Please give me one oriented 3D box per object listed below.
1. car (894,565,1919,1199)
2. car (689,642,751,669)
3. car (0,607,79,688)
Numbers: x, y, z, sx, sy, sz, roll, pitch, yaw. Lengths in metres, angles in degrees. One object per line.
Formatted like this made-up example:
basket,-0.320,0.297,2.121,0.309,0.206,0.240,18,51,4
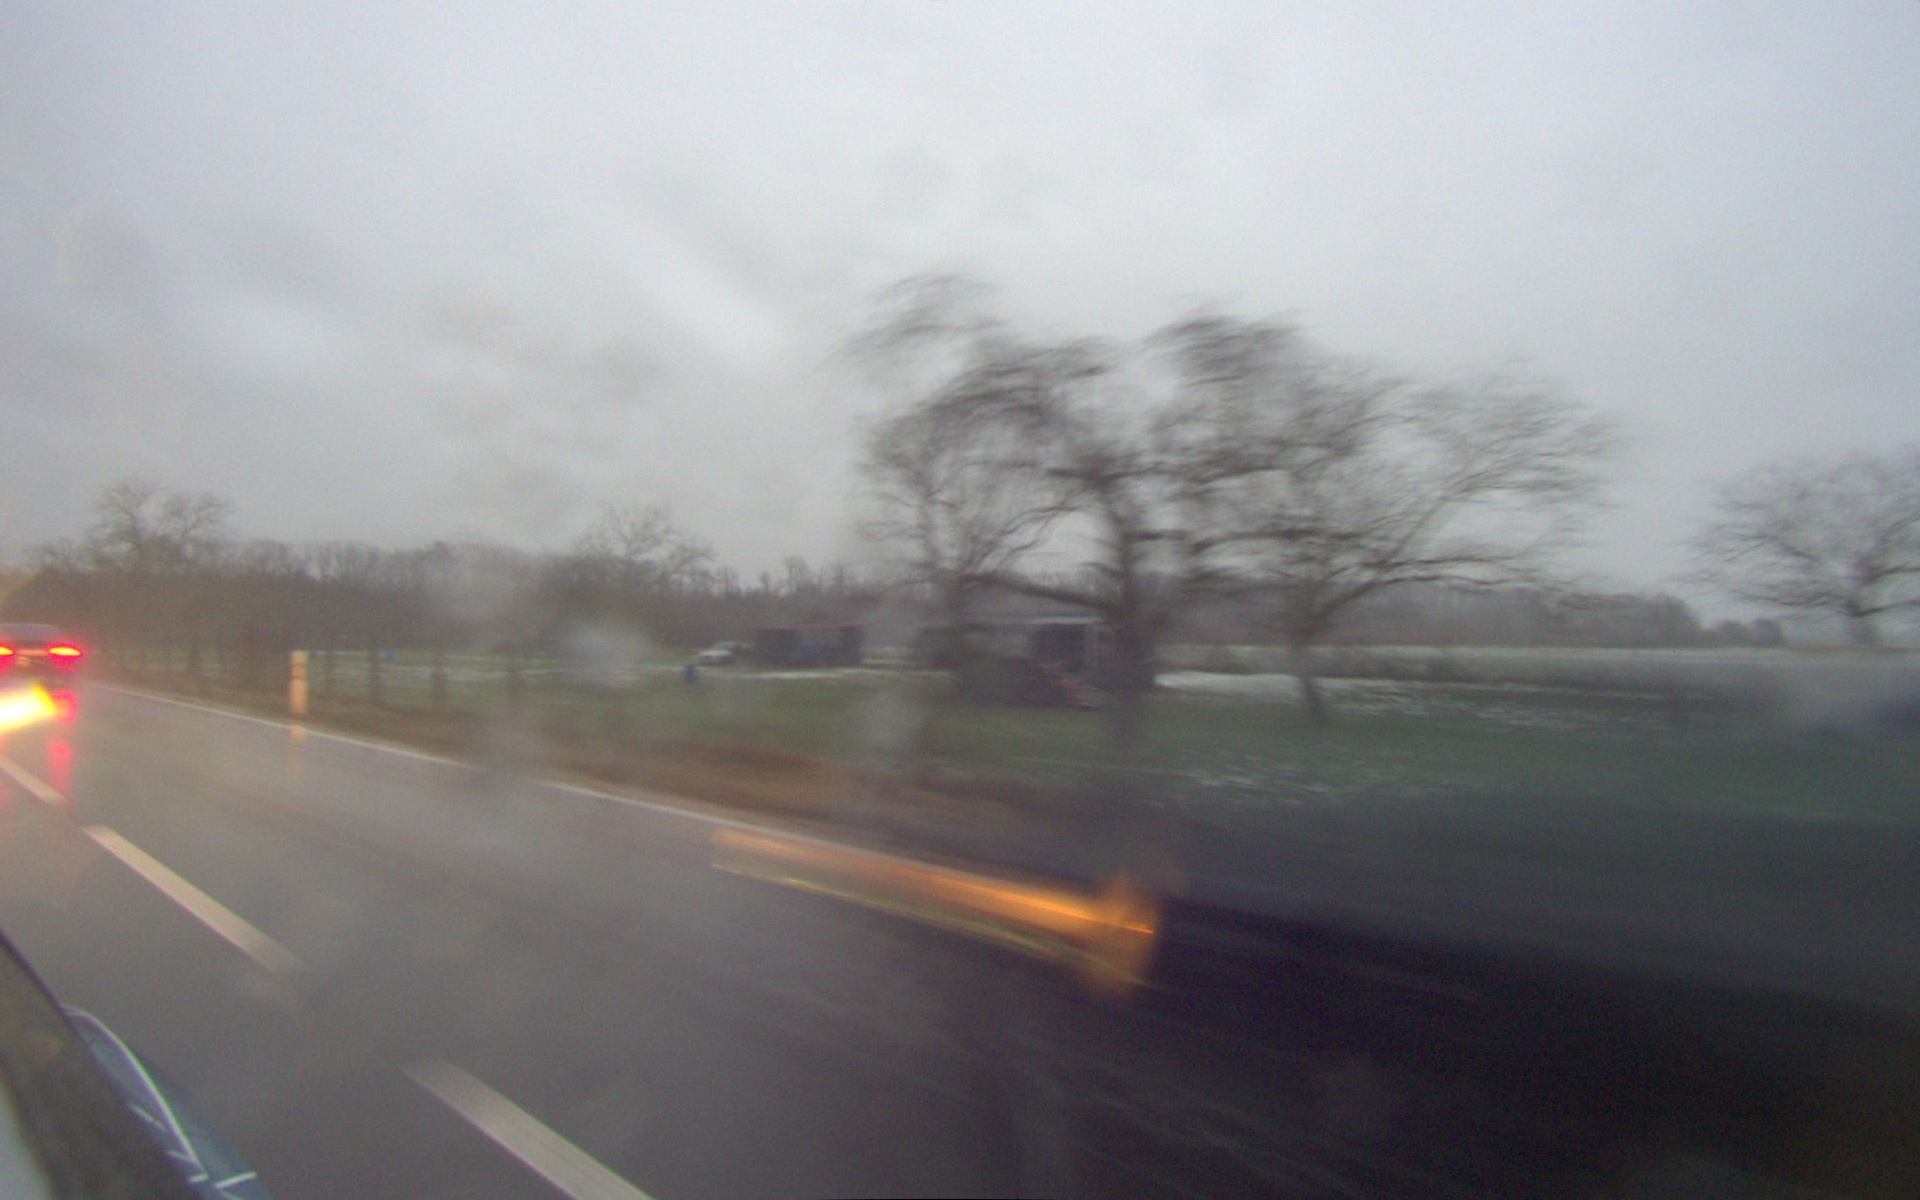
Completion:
car,1.768,0.724,2.342,3.772,1.490,1.670,-1,-3,42
car,-13.480,3.089,57.078,1.591,1.352,3.421,-1,0,27
car,-22.854,1.114,24.321,4.491,1.820,1.805,-1,-3,40
